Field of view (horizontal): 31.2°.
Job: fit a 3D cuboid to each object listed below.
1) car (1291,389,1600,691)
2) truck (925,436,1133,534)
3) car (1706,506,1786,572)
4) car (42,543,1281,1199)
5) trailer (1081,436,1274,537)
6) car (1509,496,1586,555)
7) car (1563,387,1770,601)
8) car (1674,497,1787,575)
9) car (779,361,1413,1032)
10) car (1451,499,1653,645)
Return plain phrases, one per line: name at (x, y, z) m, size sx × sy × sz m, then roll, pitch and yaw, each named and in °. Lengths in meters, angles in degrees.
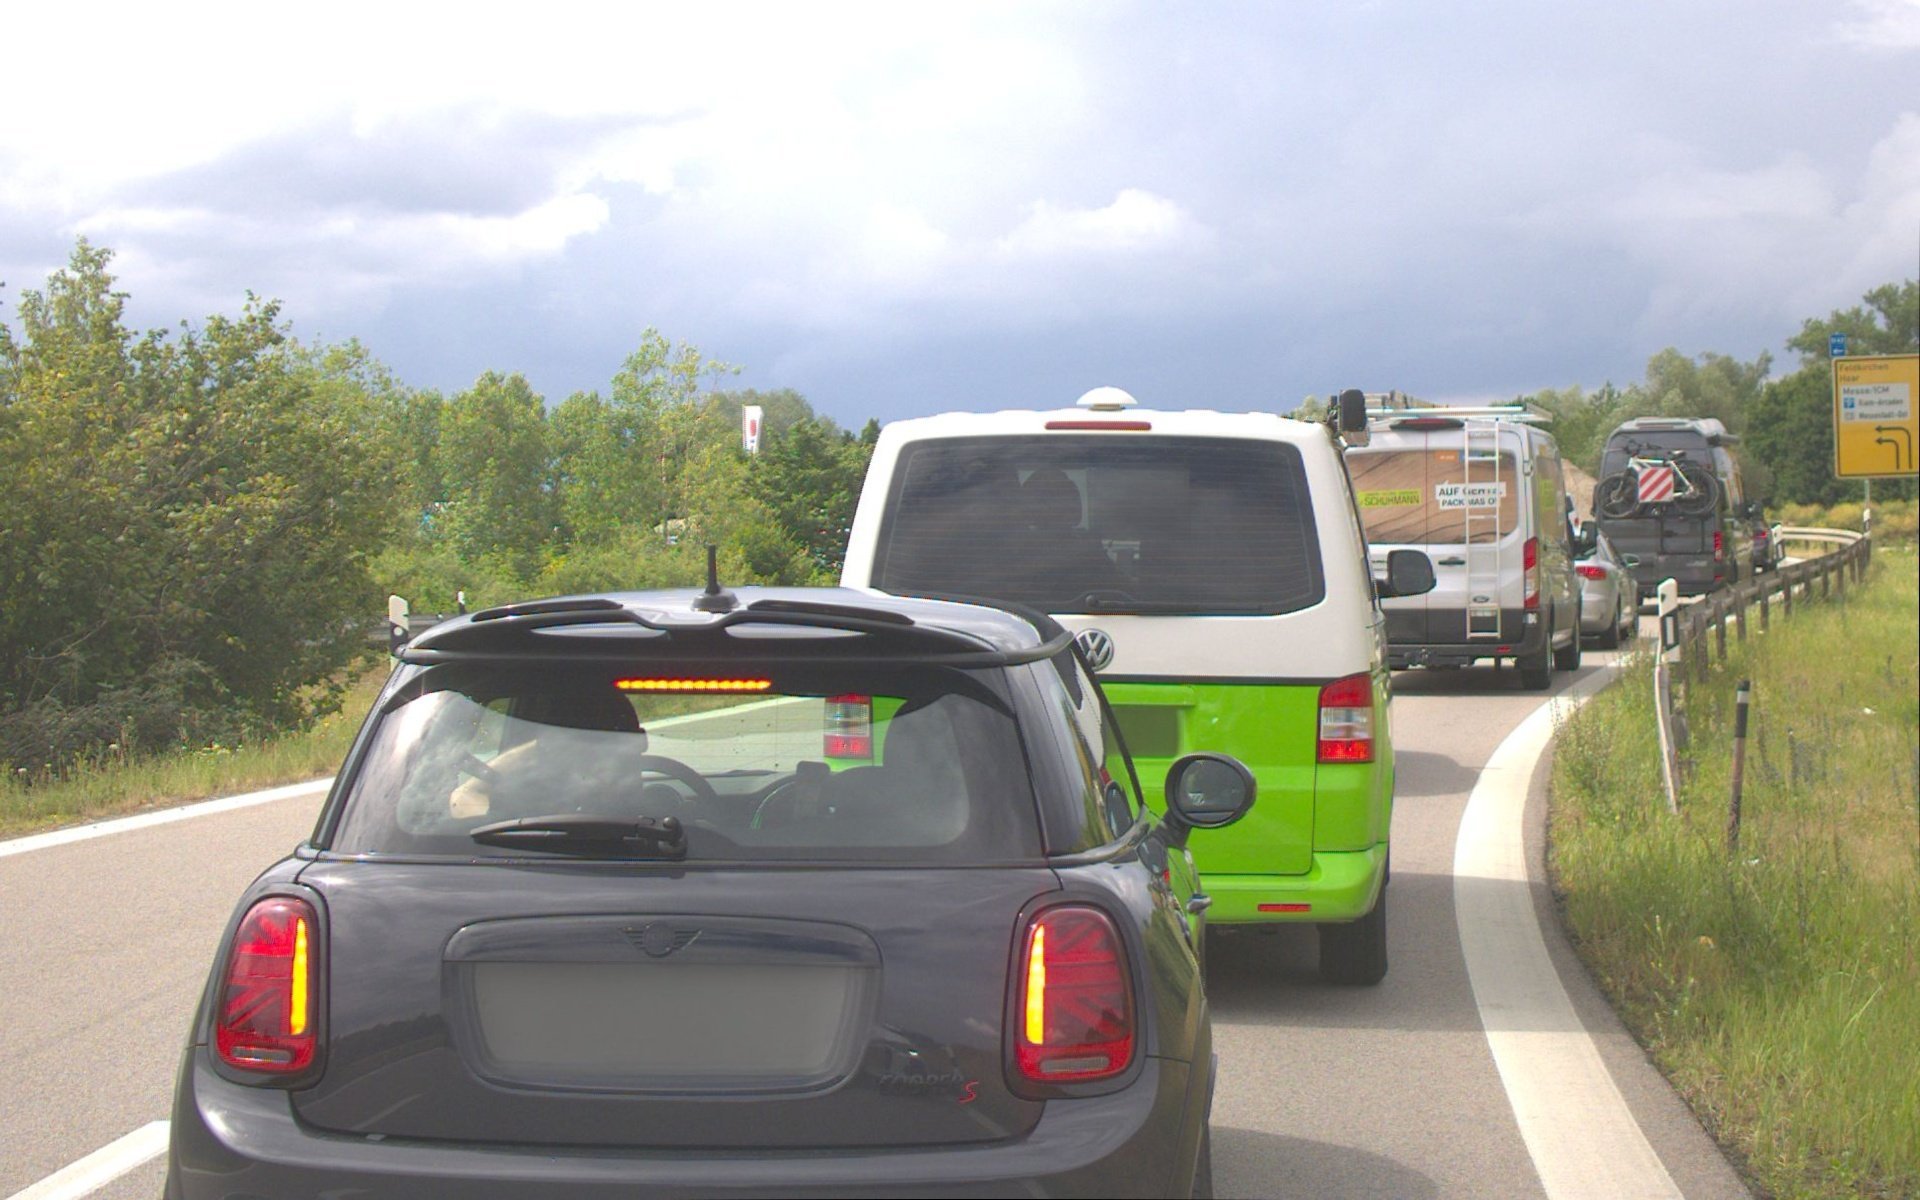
car at (4.734, -0.554, 32.775) m, size 2.213 × 2.613 × 5.530 m, roll 1°, pitch 1°, yaw 15°
truck at (2.829, -4.802, 145.473) m, size 2.837 × 3.962 × 10.026 m, roll 0°, pitch 1°, yaw -40°
car at (22.974, -1.761, 100.588) m, size 2.096 × 1.876 × 4.493 m, roll 1°, pitch 1°, yaw 11°
car at (-0.329, 0.670, 6.831) m, size 1.800 × 1.541 × 3.738 m, roll 0°, pitch 1°, yaw 4°
trailer at (8.660, -4.512, 138.176) m, size 3.036 × 3.884 × 8.772 m, roll 0°, pitch 1°, yaw -34°
car at (19.652, -2.477, 115.129) m, size 2.095 × 1.876 × 4.494 m, roll 1°, pitch 1°, yaw 4°
car at (10.916, -1.555, 52.691) m, size 2.313 × 3.058 × 6.656 m, roll 1°, pitch 1°, yaw 18°
car at (16.391, -1.347, 73.016) m, size 1.895 × 1.583 × 4.491 m, roll 1°, pitch 1°, yaw 18°
car at (0.677, 0.258, 12.647) m, size 1.911 × 2.038 × 4.180 m, roll 0°, pitch 1°, yaw 8°
car at (7.107, -0.337, 40.993) m, size 1.995 × 1.636 × 3.926 m, roll 1°, pitch 1°, yaw 15°
